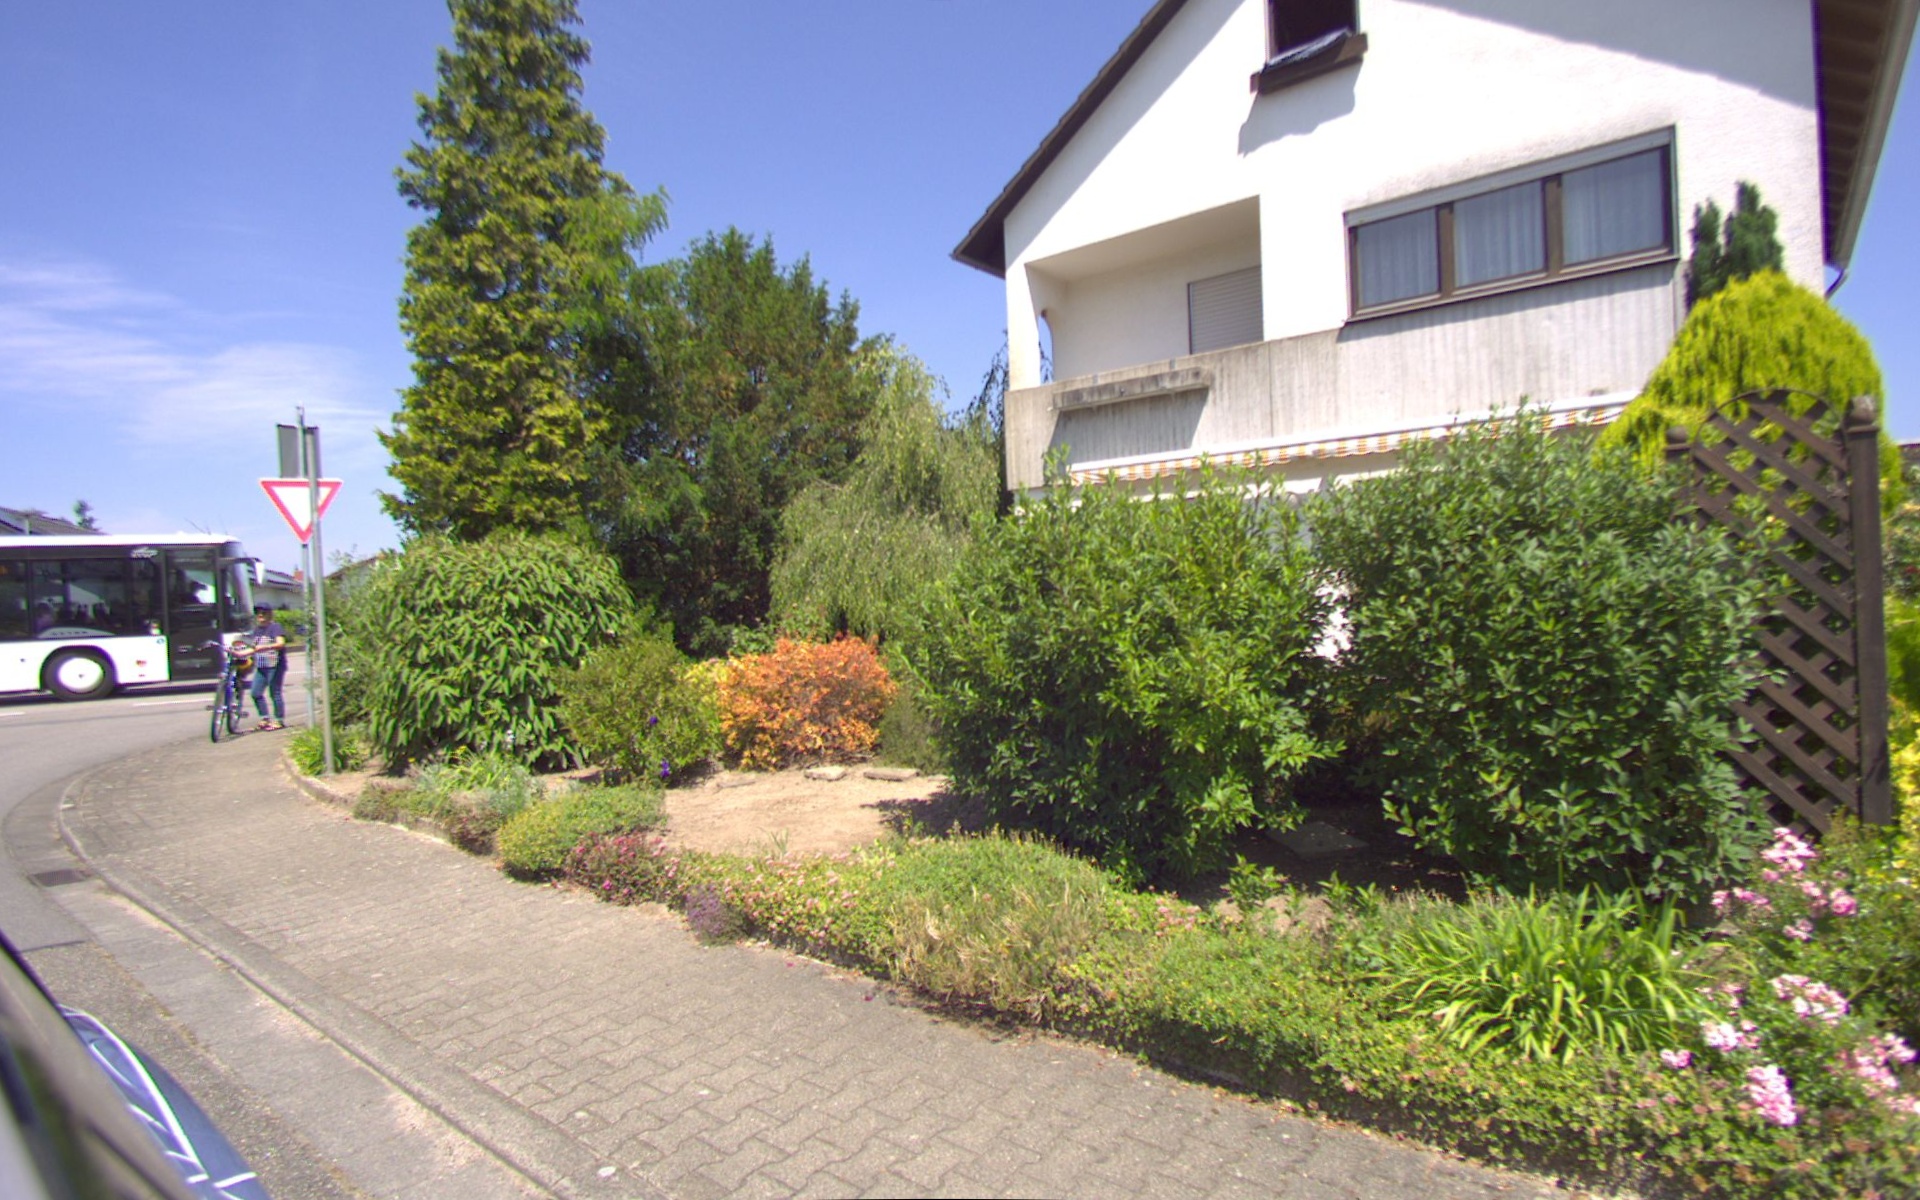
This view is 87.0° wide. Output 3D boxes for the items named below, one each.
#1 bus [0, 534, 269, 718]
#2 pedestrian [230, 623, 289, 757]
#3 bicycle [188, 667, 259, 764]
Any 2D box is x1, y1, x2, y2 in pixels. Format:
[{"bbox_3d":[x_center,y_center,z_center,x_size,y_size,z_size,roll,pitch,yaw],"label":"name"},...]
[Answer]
[{"bbox_3d":[-20.034,0.593,18.005,12.495,3.269,3.201,-2,-1,-30],"label":"bus"},{"bbox_3d":[-8.255,1.038,11.938,0.496,1.512,0.614,-2,-1,-31],"label":"pedestrian"},{"bbox_3d":[-8.586,1.308,11.845,0.436,0.971,1.854,-2,-1,-29],"label":"bicycle"}]
